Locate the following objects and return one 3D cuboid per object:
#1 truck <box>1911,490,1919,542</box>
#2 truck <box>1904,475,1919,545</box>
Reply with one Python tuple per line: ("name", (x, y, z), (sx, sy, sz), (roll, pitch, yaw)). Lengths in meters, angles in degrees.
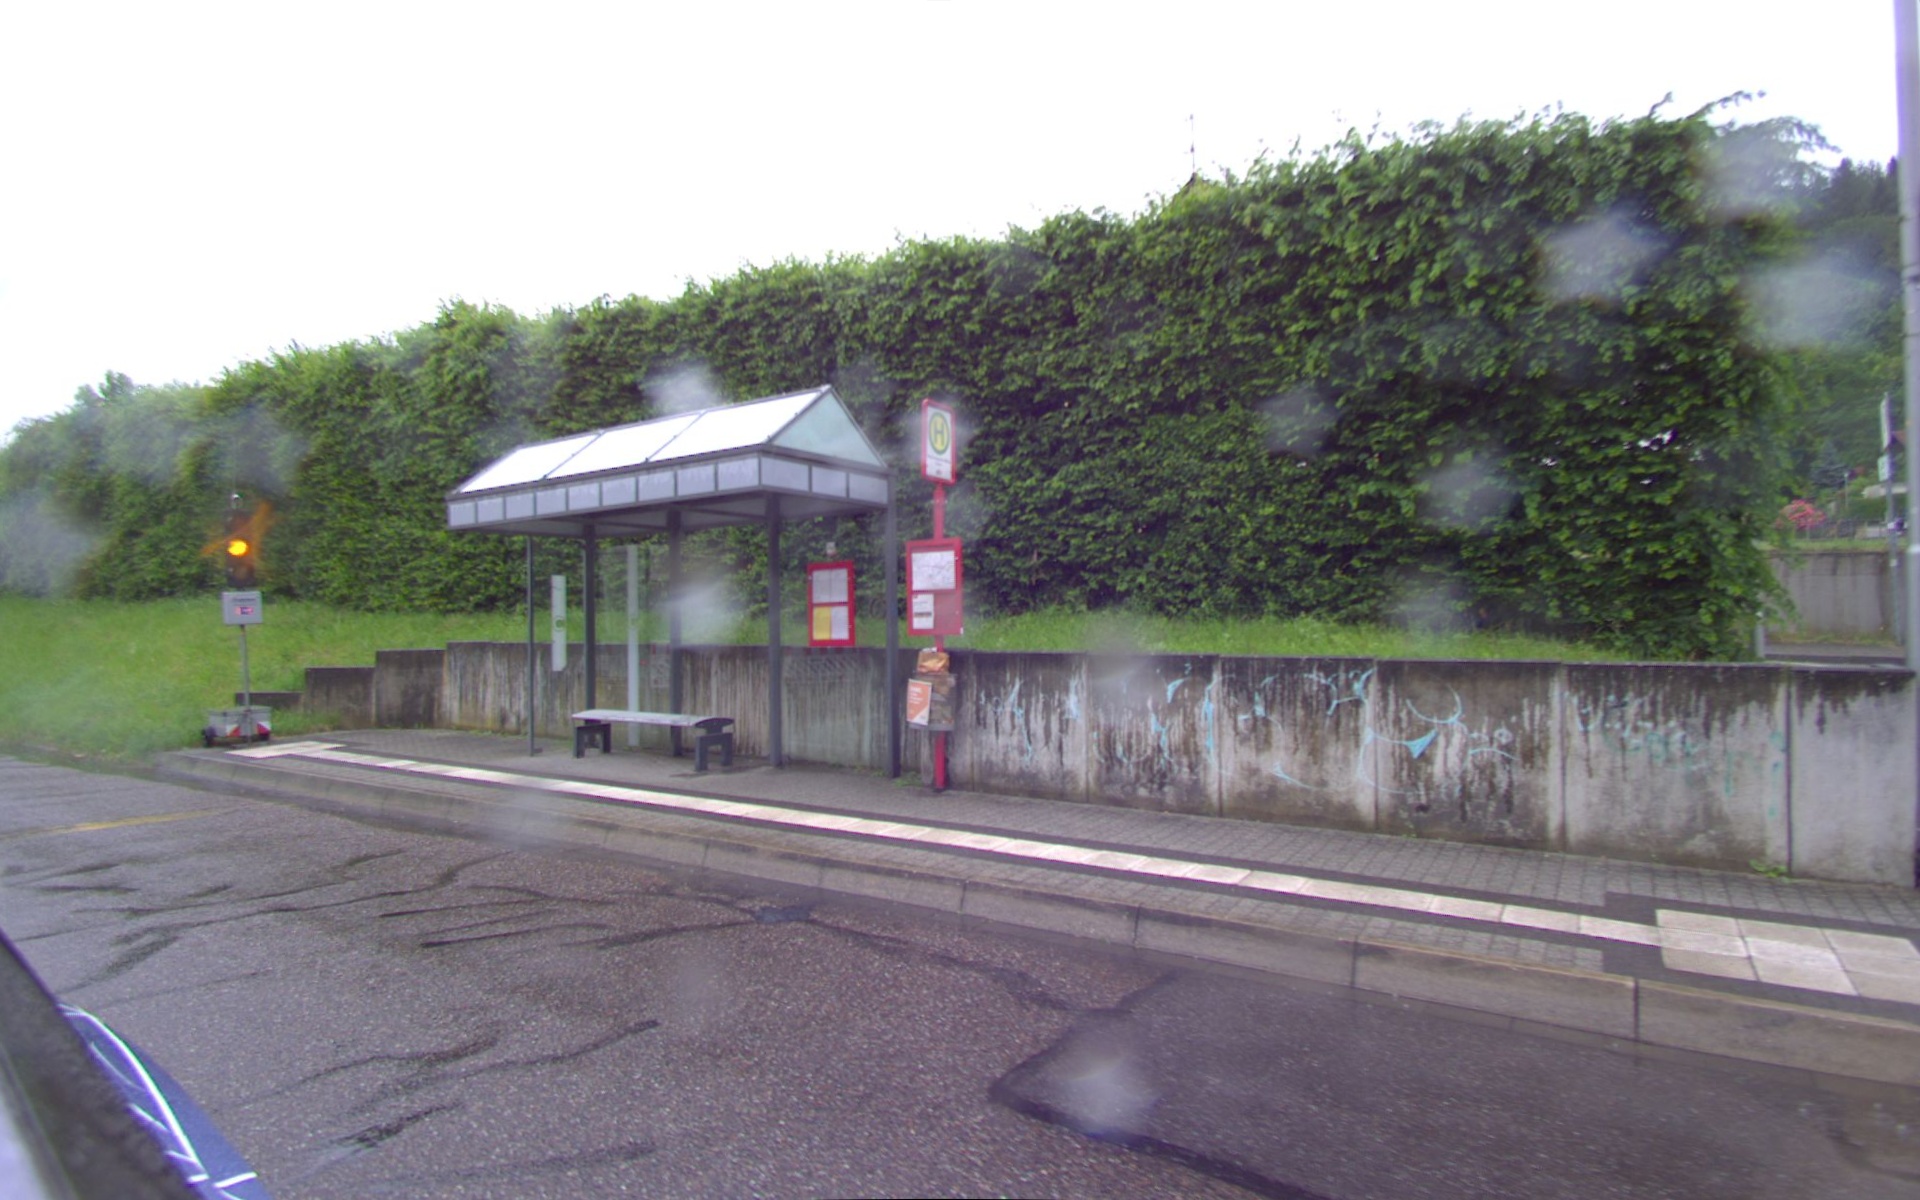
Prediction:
("truck", (39.285, -3.375, 39.256), (2.293, 2.142, 6.015), (-1, 2, 32))
("truck", (47.550, -4.374, 48.290), (2.446, 3.377, 6.585), (-1, 2, 33))
